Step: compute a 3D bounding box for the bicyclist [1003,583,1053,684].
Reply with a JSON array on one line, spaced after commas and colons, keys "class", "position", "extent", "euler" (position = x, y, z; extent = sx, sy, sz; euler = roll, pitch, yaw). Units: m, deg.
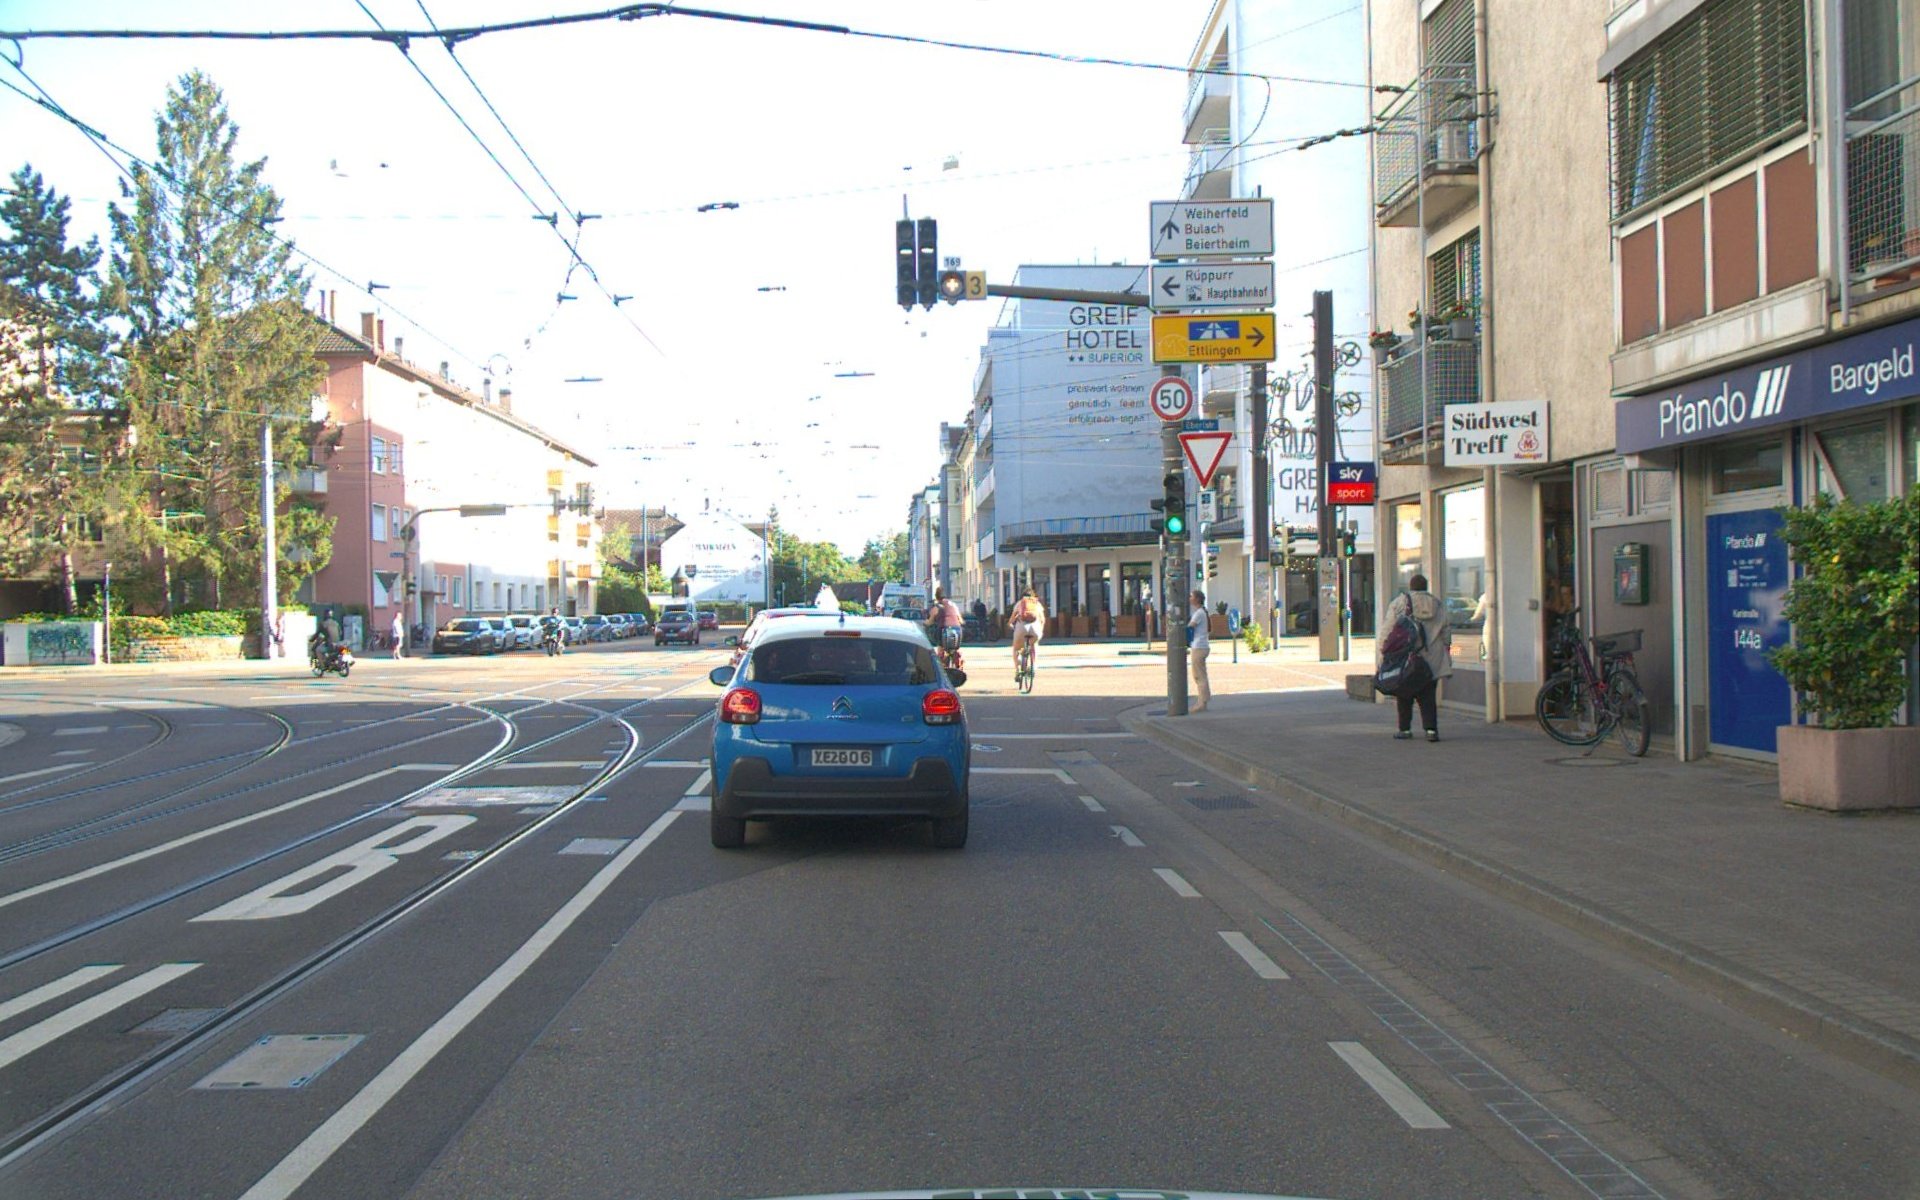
[{"class": "bicyclist", "position": [1.187, 0.578, 28.670], "extent": [0.794, 1.721, 0.935], "euler": [1, -1, 5]}]

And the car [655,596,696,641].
[{"class": "car", "position": [-20.512, 1.325, 119.293], "extent": [2.369, 3.197, 3.487], "euler": [1, -1, -2]}]

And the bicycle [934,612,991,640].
[{"class": "bicycle", "position": [0.082, 1.059, 67.016], "extent": [2.207, 1.019, 0.855], "euler": [-2, -1, -4]}]

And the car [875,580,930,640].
[{"class": "car", "position": [-2.543, 0.441, 71.572], "extent": [2.220, 2.525, 5.003], "euler": [0, -1, -4]}]

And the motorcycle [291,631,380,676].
[{"class": "motorcycle", "position": [-15.332, 1.310, 40.620], "extent": [1.895, 1.065, 0.858], "euler": [1, -1, 16]}]

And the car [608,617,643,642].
[{"class": "car", "position": [-22.515, 1.970, 111.386], "extent": [1.833, 1.604, 3.996], "euler": [1, -1, -5]}]

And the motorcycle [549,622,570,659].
[{"class": "motorcycle", "position": [-14.024, 1.431, 57.893], "extent": [0.699, 1.241, 1.958], "euler": [-1, -2, -14]}]

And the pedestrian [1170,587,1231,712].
[{"class": "pedestrian", "position": [3.313, 0.678, 22.783], "extent": [0.528, 1.652, 0.733], "euler": [-6, -3, 22]}]

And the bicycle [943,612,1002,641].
[{"class": "bicycle", "position": [0.498, 1.037, 64.532], "extent": [2.207, 1.019, 0.855], "euler": [-2, -1, -4]}]

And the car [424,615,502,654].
[{"class": "car", "position": [-20.374, 1.453, 67.986], "extent": [2.111, 1.457, 4.436], "euler": [1, -2, -4]}]

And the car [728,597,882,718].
[{"class": "car", "position": [-2.262, 0.753, 23.332], "extent": [1.753, 1.548, 3.751], "euler": [1, 0, -12]}]

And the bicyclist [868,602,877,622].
[{"class": "bicyclist", "position": [-9.312, 1.306, 175.665], "extent": [0.774, 2.060, 0.986], "euler": [1, -1, 2]}]

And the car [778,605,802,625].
[{"class": "car", "position": [-17.331, 1.556, 168.892], "extent": [2.173, 1.965, 4.946], "euler": [1, -1, -2]}]

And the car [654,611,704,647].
[{"class": "car", "position": [-12.371, 1.251, 72.970], "extent": [1.744, 1.512, 3.825], "euler": [-1, -1, -4]}]

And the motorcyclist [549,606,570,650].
[{"class": "motorcyclist", "position": [-14.025, 0.985, 57.905], "extent": [0.681, 1.523, 0.682], "euler": [-1, -2, -14]}]

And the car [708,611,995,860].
[{"class": "car", "position": [-0.919, 0.826, 11.814], "extent": [1.704, 1.478, 3.654], "euler": [0, -1, -9]}]

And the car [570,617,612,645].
[{"class": "car", "position": [-21.647, 1.805, 97.076], "extent": [1.833, 1.604, 3.996], "euler": [1, -1, -5]}]

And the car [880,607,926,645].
[{"class": "car", "position": [-2.309, 1.037, 66.484], "extent": [1.625, 1.456, 3.884], "euler": [1, -1, -5]}]

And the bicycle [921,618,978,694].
[{"class": "bicycle", "position": [-0.185, 0.938, 28.450], "extent": [0.921, 1.245, 2.094], "euler": [1, -1, -1]}]

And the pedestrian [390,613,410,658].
[{"class": "pedestrian", "position": [-20.249, 1.272, 59.834], "extent": [0.506, 1.596, 0.573], "euler": [1, -1, -2]}]

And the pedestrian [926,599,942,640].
[{"class": "pedestrian", "position": [-1.074, 0.792, 68.393], "extent": [0.600, 1.683, 0.671], "euler": [1, -1, -1]}]

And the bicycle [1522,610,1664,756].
[{"class": "bicycle", "position": [5.477, 0.691, 14.411], "extent": [0.486, 1.182, 1.776], "euler": [-1, -1, -2]}]

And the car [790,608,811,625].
[{"class": "car", "position": [-17.942, 1.841, 186.355], "extent": [2.032, 1.793, 5.034], "euler": [1, -1, -2]}]

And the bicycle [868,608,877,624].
[{"class": "bicycle", "position": [-9.317, 1.688, 175.657], "extent": [0.774, 1.699, 2.230], "euler": [1, -1, 2]}]

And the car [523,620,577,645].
[{"class": "car", "position": [-20.995, 1.655, 84.893], "extent": [1.908, 1.261, 4.279], "euler": [1, -1, -4]}]

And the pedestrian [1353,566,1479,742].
[{"class": "pedestrian", "position": [4.437, 0.511, 16.147], "extent": [0.868, 1.620, 0.809], "euler": [-3, 0, -8]}]

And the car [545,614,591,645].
[{"class": "car", "position": [-21.564, 1.608, 91.017], "extent": [1.833, 1.604, 3.996], "euler": [1, -1, -5]}]

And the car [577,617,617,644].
[{"class": "car", "position": [-22.165, 1.848, 101.219], "extent": [1.833, 1.604, 3.996], "euler": [1, -1, -5]}]

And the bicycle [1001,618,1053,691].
[{"class": "bicycle", "position": [1.174, 0.915, 28.583], "extent": [0.794, 1.202, 2.065], "euler": [1, -1, 5]}]

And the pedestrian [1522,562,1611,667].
[{"class": "pedestrian", "position": [6.582, 0.154, 17.960], "extent": [0.618, 1.107, 0.670], "euler": [-2, 0, -37]}]

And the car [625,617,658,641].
[{"class": "car", "position": [-22.648, 2.049, 117.814], "extent": [1.833, 1.604, 3.996], "euler": [1, -1, -5]}]

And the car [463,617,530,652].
[{"class": "car", "position": [-20.541, 1.510, 73.435], "extent": [1.865, 1.462, 4.101], "euler": [1, -1, -1]}]

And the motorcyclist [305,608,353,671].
[{"class": "motorcyclist", "position": [-15.514, 0.973, 40.682], "extent": [0.711, 1.514, 0.858], "euler": [1, -1, 16]}]

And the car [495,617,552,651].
[{"class": "car", "position": [-20.645, 1.582, 78.316], "extent": [1.707, 1.553, 4.227], "euler": [1, -1, -3]}]

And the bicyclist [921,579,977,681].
[{"class": "bicyclist", "position": [-0.184, 0.514, 28.474], "extent": [0.921, 1.702, 1.079], "euler": [1, -1, -1]}]

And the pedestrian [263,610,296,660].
[{"class": "pedestrian", "position": [-23.886, 1.225, 58.042], "extent": [0.690, 1.752, 0.782], "euler": [0, -1, 32]}]

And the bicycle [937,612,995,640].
[{"class": "bicycle", "position": [0.242, 1.041, 65.902], "extent": [2.207, 1.019, 0.855], "euler": [-2, -1, -4]}]
